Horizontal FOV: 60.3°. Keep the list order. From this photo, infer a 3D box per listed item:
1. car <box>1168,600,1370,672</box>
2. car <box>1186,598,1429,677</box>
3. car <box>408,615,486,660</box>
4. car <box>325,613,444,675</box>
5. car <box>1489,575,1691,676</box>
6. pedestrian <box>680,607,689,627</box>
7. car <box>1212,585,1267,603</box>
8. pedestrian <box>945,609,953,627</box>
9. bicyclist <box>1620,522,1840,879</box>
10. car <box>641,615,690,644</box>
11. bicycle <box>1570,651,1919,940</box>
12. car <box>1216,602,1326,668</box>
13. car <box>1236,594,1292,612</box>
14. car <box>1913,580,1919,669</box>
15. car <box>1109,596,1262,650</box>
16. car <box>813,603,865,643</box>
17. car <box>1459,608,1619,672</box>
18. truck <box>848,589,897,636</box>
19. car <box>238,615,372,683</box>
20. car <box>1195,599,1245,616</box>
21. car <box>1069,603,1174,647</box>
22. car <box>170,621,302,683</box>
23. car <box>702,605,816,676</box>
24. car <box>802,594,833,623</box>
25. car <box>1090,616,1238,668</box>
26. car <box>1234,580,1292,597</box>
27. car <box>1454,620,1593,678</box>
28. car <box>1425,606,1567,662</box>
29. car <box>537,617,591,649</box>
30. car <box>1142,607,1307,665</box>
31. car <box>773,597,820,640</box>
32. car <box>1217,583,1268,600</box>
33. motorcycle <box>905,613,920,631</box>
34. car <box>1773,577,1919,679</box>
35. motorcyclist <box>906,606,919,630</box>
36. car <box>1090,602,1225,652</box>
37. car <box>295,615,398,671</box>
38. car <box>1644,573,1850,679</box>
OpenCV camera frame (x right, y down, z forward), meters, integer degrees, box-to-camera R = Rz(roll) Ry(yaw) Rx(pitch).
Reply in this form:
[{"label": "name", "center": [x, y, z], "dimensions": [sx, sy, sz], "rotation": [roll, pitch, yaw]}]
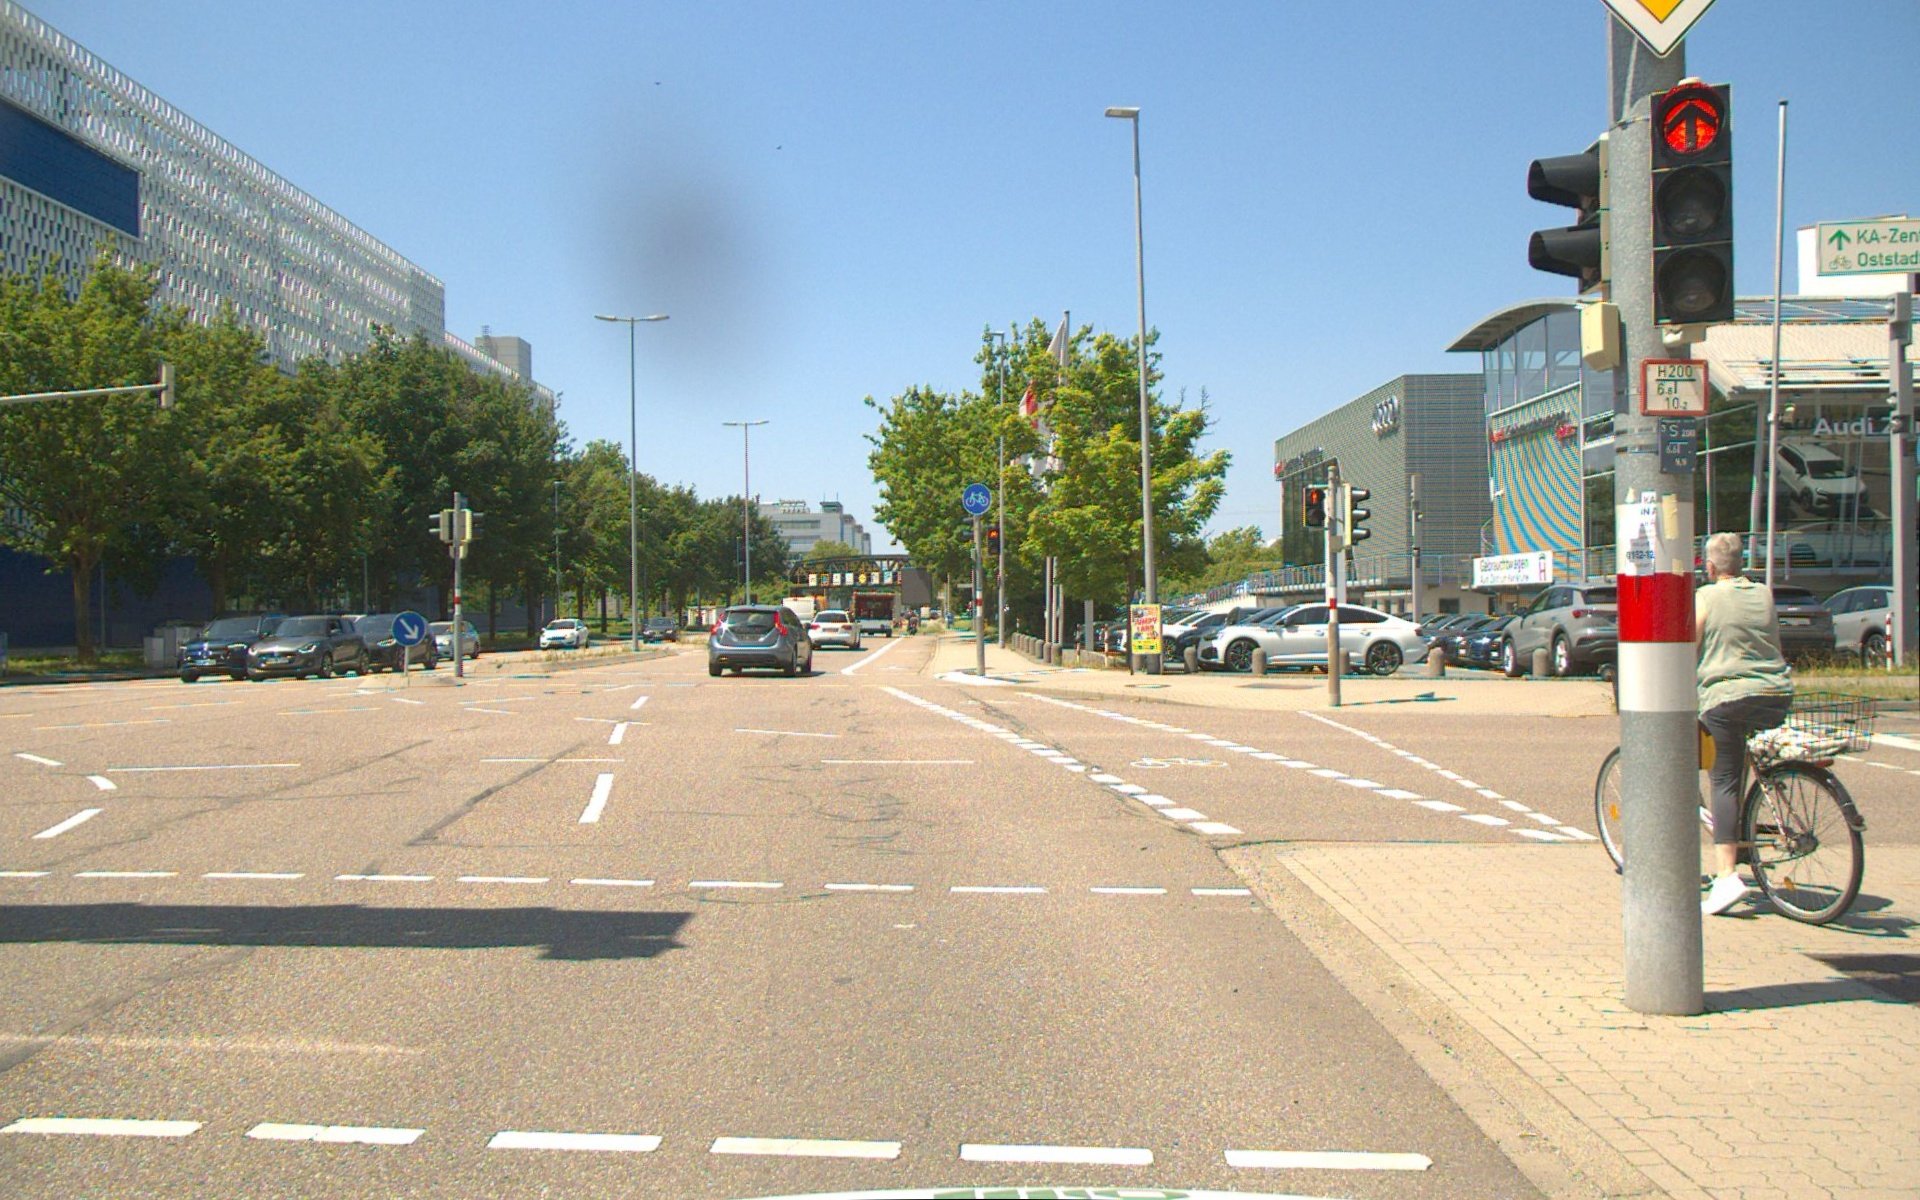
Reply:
[{"label": "car", "center": [6.659, 0.769, 35.929], "dimensions": [4.013, 1.415, 1.868], "rotation": [2, -1, -1]}, {"label": "car", "center": [6.939, 0.749, 33.342], "dimensions": [4.497, 1.415, 1.869], "rotation": [2, -1, 1]}, {"label": "car", "center": [-18.445, 1.331, 59.634], "dimensions": [1.616, 1.512, 3.914], "rotation": [-2, -1, -1]}, {"label": "car", "center": [-15.491, 1.171, 44.744], "dimensions": [1.691, 1.531, 4.243], "rotation": [-3, -1, 0]}, {"label": "car", "center": [10.999, 0.479, 29.238], "dimensions": [1.830, 1.586, 4.503], "rotation": [-2, -2, 0]}, {"label": "pedestrian", "center": [-25.742, 1.599, 154.484], "dimensions": [0.728, 1.917, 0.577], "rotation": [-1, -1, 0]}, {"label": "car", "center": [21.924, -0.467, 129.783], "dimensions": [3.909, 1.335, 1.795], "rotation": [1, -1, -5]}, {"label": "pedestrian", "center": [-0.886, 1.444, 133.285], "dimensions": [0.611, 1.399, 0.564], "rotation": [-1, -1, -3]}, {"label": "bicyclist", "center": [3.720, 0.466, 8.040], "dimensions": [0.616, 1.634, 0.824], "rotation": [1, -1, -8]}, {"label": "car", "center": [-16.483, 1.642, 92.799], "dimensions": [1.691, 1.471, 4.720], "rotation": [-3, -1, 2]}, {"label": "bicycle", "center": [3.718, 0.864, 8.024], "dimensions": [0.616, 1.153, 1.892], "rotation": [0, 1, -7]}, {"label": "car", "center": [7.407, 0.817, 39.779], "dimensions": [1.824, 1.444, 4.663], "rotation": [2, -1, 1]}, {"label": "car", "center": [21.500, 0.223, 117.038], "dimensions": [3.652, 1.150, 1.682], "rotation": [1, -1, -5]}, {"label": "car", "center": [18.711, 0.481, 28.977], "dimensions": [1.604, 1.644, 3.814], "rotation": [0, 1, -5]}, {"label": "car", "center": [6.294, 0.631, 46.492], "dimensions": [4.016, 1.372, 1.868], "rotation": [2, -1, -1]}, {"label": "car", "center": [-4.458, 0.834, 61.198], "dimensions": [1.708, 1.420, 3.528], "rotation": [-1, 0, -1]}, {"label": "car", "center": [16.287, 1.112, 46.626], "dimensions": [3.904, 1.650, 1.656], "rotation": [2, -1, -1]}, {"label": "truck", "center": [-4.818, 0.681, 92.219], "dimensions": [2.408, 2.452, 7.132], "rotation": [1, 0, -1]}, {"label": "car", "center": [-15.185, 1.117, 38.525], "dimensions": [1.610, 1.413, 3.715], "rotation": [-3, -1, 0]}, {"label": "car", "center": [22.321, 0.650, 142.057], "dimensions": [3.909, 1.335, 1.795], "rotation": [-1, -1, -5]}, {"label": "car", "center": [5.858, 0.906, 60.373], "dimensions": [3.607, 1.479, 1.833], "rotation": [2, -1, -1]}, {"label": "car", "center": [-18.345, 1.289, 42.094], "dimensions": [1.627, 1.449, 4.037], "rotation": [-2, -1, -1]}, {"label": "car", "center": [-4.229, 0.828, 35.369], "dimensions": [1.861, 1.400, 4.231], "rotation": [-1, 0, 0]}, {"label": "car", "center": [-10.508, 0.637, 122.317], "dimensions": [1.953, 2.049, 4.811], "rotation": [1, 0, -1]}, {"label": "car", "center": [6.067, 1.234, 49.468], "dimensions": [4.140, 1.415, 1.868], "rotation": [2, -1, -1]}, {"label": "car", "center": [22.120, -0.848, 120.789], "dimensions": [3.862, 1.232, 1.715], "rotation": [0, -1, -5]}, {"label": "car", "center": [16.790, 1.444, 49.362], "dimensions": [3.573, 1.608, 1.642], "rotation": [2, -1, -1]}, {"label": "car", "center": [16.676, 1.045, 51.558], "dimensions": [3.901, 1.601, 1.633], "rotation": [2, -1, -1]}, {"label": "car", "center": [-19.310, 1.604, 80.835], "dimensions": [1.708, 1.512, 3.999], "rotation": [-2, -1, -1]}, {"label": "car", "center": [6.953, 0.932, 43.766], "dimensions": [4.013, 1.388, 1.874], "rotation": [2, -1, -1]}, {"label": "car", "center": [-7.975, 0.900, 80.973], "dimensions": [1.953, 2.049, 3.998], "rotation": [-1, 0, -2]}, {"label": "car", "center": [21.334, -0.636, 125.004], "dimensions": [3.455, 1.261, 1.675], "rotation": [1, -1, -5]}, {"label": "motorcycle", "center": [-3.063, 1.401, 106.096], "dimensions": [0.703, 1.124, 1.825], "rotation": [1, -1, -10]}, {"label": "car", "center": [16.401, 0.498, 29.243], "dimensions": [1.808, 1.683, 3.994], "rotation": [2, -1, -5]}, {"label": "motorcyclist", "center": [-3.070, 1.171, 106.136], "dimensions": [0.706, 1.556, 0.868], "rotation": [1, -1, -11]}, {"label": "car", "center": [6.205, 0.838, 52.264], "dimensions": [4.017, 1.429, 1.868], "rotation": [2, -1, -1]}, {"label": "car", "center": [-18.604, 1.288, 50.328], "dimensions": [1.691, 1.571, 3.914], "rotation": [-2, -1, -1]}, {"label": "car", "center": [13.672, 0.440, 28.982], "dimensions": [1.806, 1.683, 3.999], "rotation": [2, -1, 2]}]
